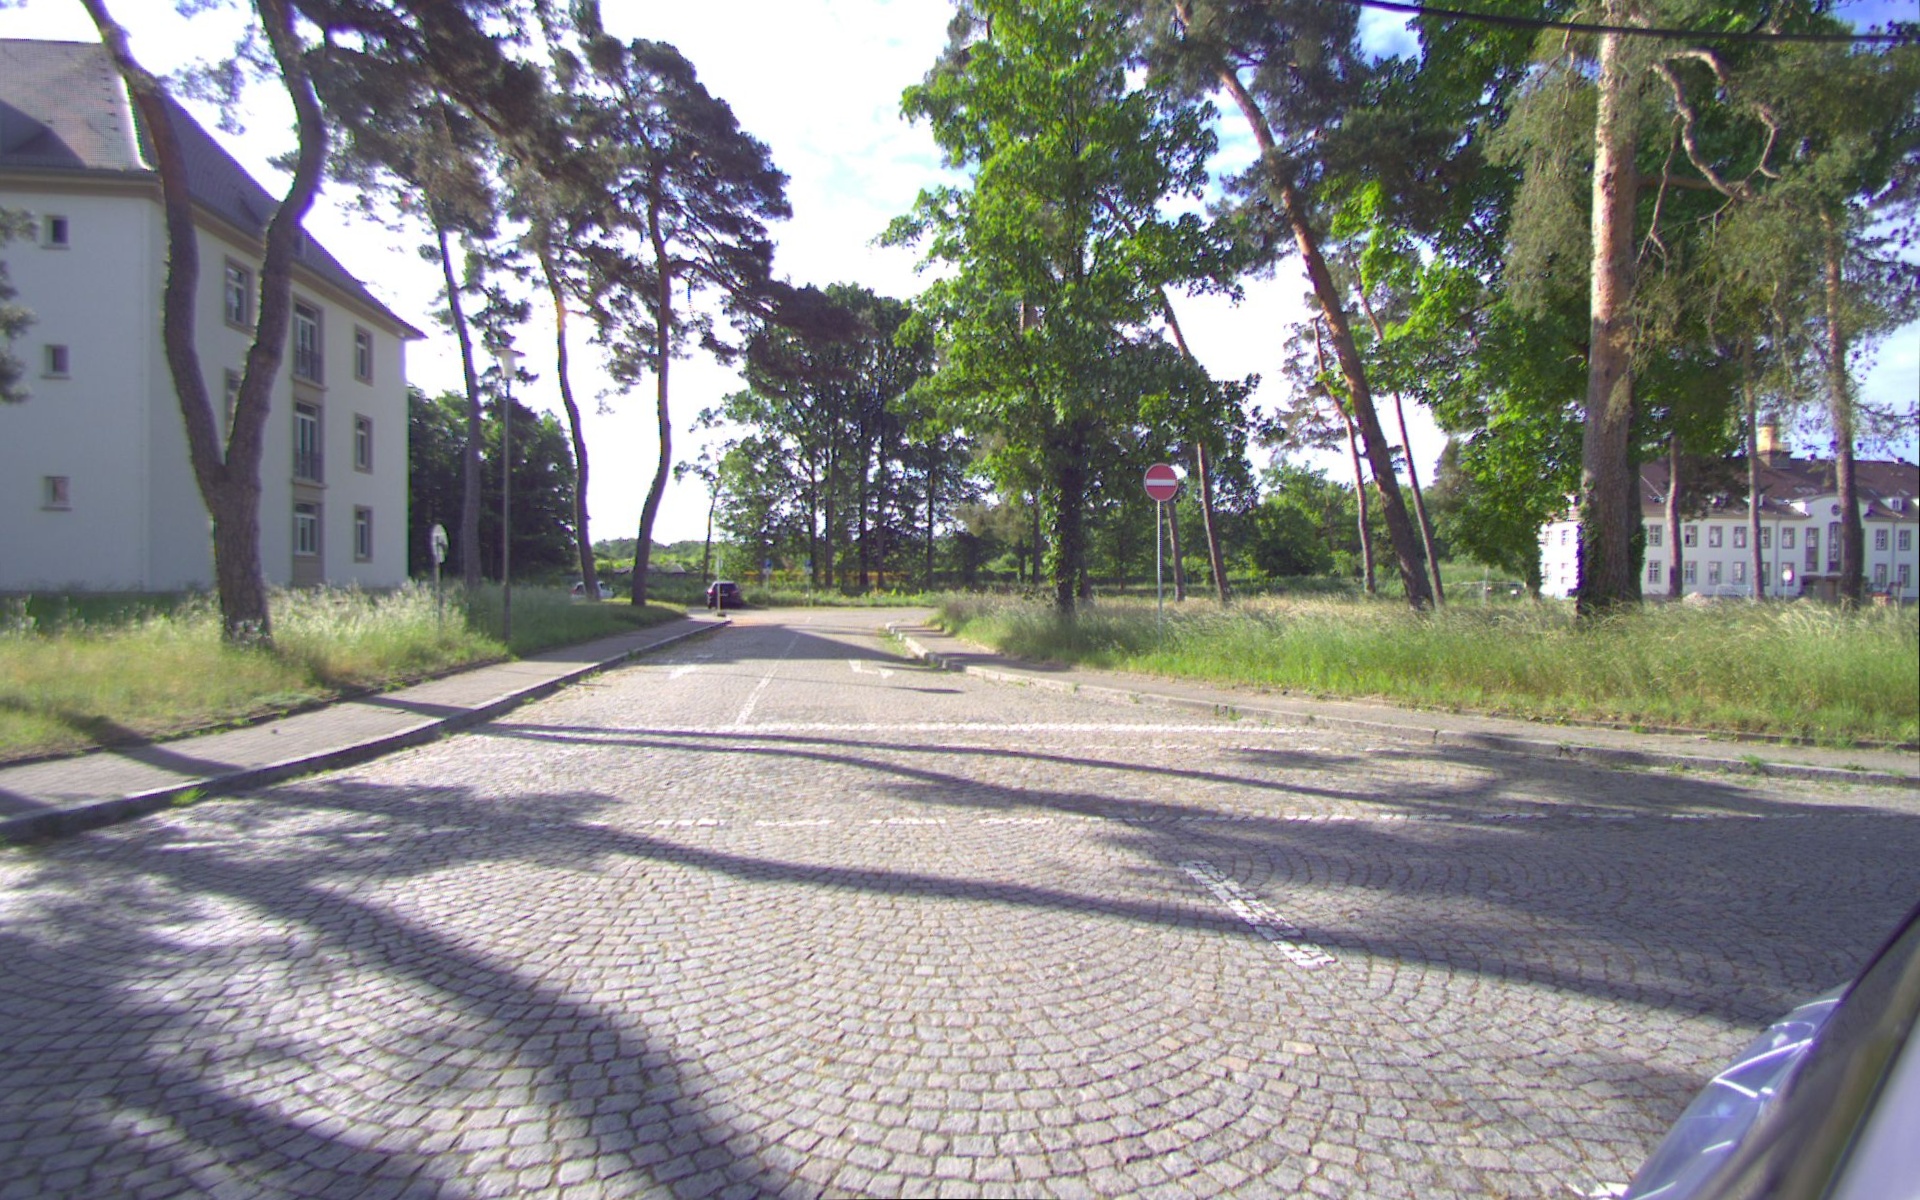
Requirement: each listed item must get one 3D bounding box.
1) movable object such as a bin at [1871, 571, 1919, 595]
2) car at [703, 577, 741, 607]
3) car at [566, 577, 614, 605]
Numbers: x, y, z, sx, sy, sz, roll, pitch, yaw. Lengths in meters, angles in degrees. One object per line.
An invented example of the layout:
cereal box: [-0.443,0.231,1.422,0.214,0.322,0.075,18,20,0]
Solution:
movable object such as a bin: [95.641,-1.714,102.834,4.884,2.352,2.004,0,1,-10]
car: [-13.278,-0.463,56.665,1.817,1.618,4.007,0,1,-10]
car: [-20.636,-0.514,56.553,1.809,1.482,4.007,0,1,-10]
